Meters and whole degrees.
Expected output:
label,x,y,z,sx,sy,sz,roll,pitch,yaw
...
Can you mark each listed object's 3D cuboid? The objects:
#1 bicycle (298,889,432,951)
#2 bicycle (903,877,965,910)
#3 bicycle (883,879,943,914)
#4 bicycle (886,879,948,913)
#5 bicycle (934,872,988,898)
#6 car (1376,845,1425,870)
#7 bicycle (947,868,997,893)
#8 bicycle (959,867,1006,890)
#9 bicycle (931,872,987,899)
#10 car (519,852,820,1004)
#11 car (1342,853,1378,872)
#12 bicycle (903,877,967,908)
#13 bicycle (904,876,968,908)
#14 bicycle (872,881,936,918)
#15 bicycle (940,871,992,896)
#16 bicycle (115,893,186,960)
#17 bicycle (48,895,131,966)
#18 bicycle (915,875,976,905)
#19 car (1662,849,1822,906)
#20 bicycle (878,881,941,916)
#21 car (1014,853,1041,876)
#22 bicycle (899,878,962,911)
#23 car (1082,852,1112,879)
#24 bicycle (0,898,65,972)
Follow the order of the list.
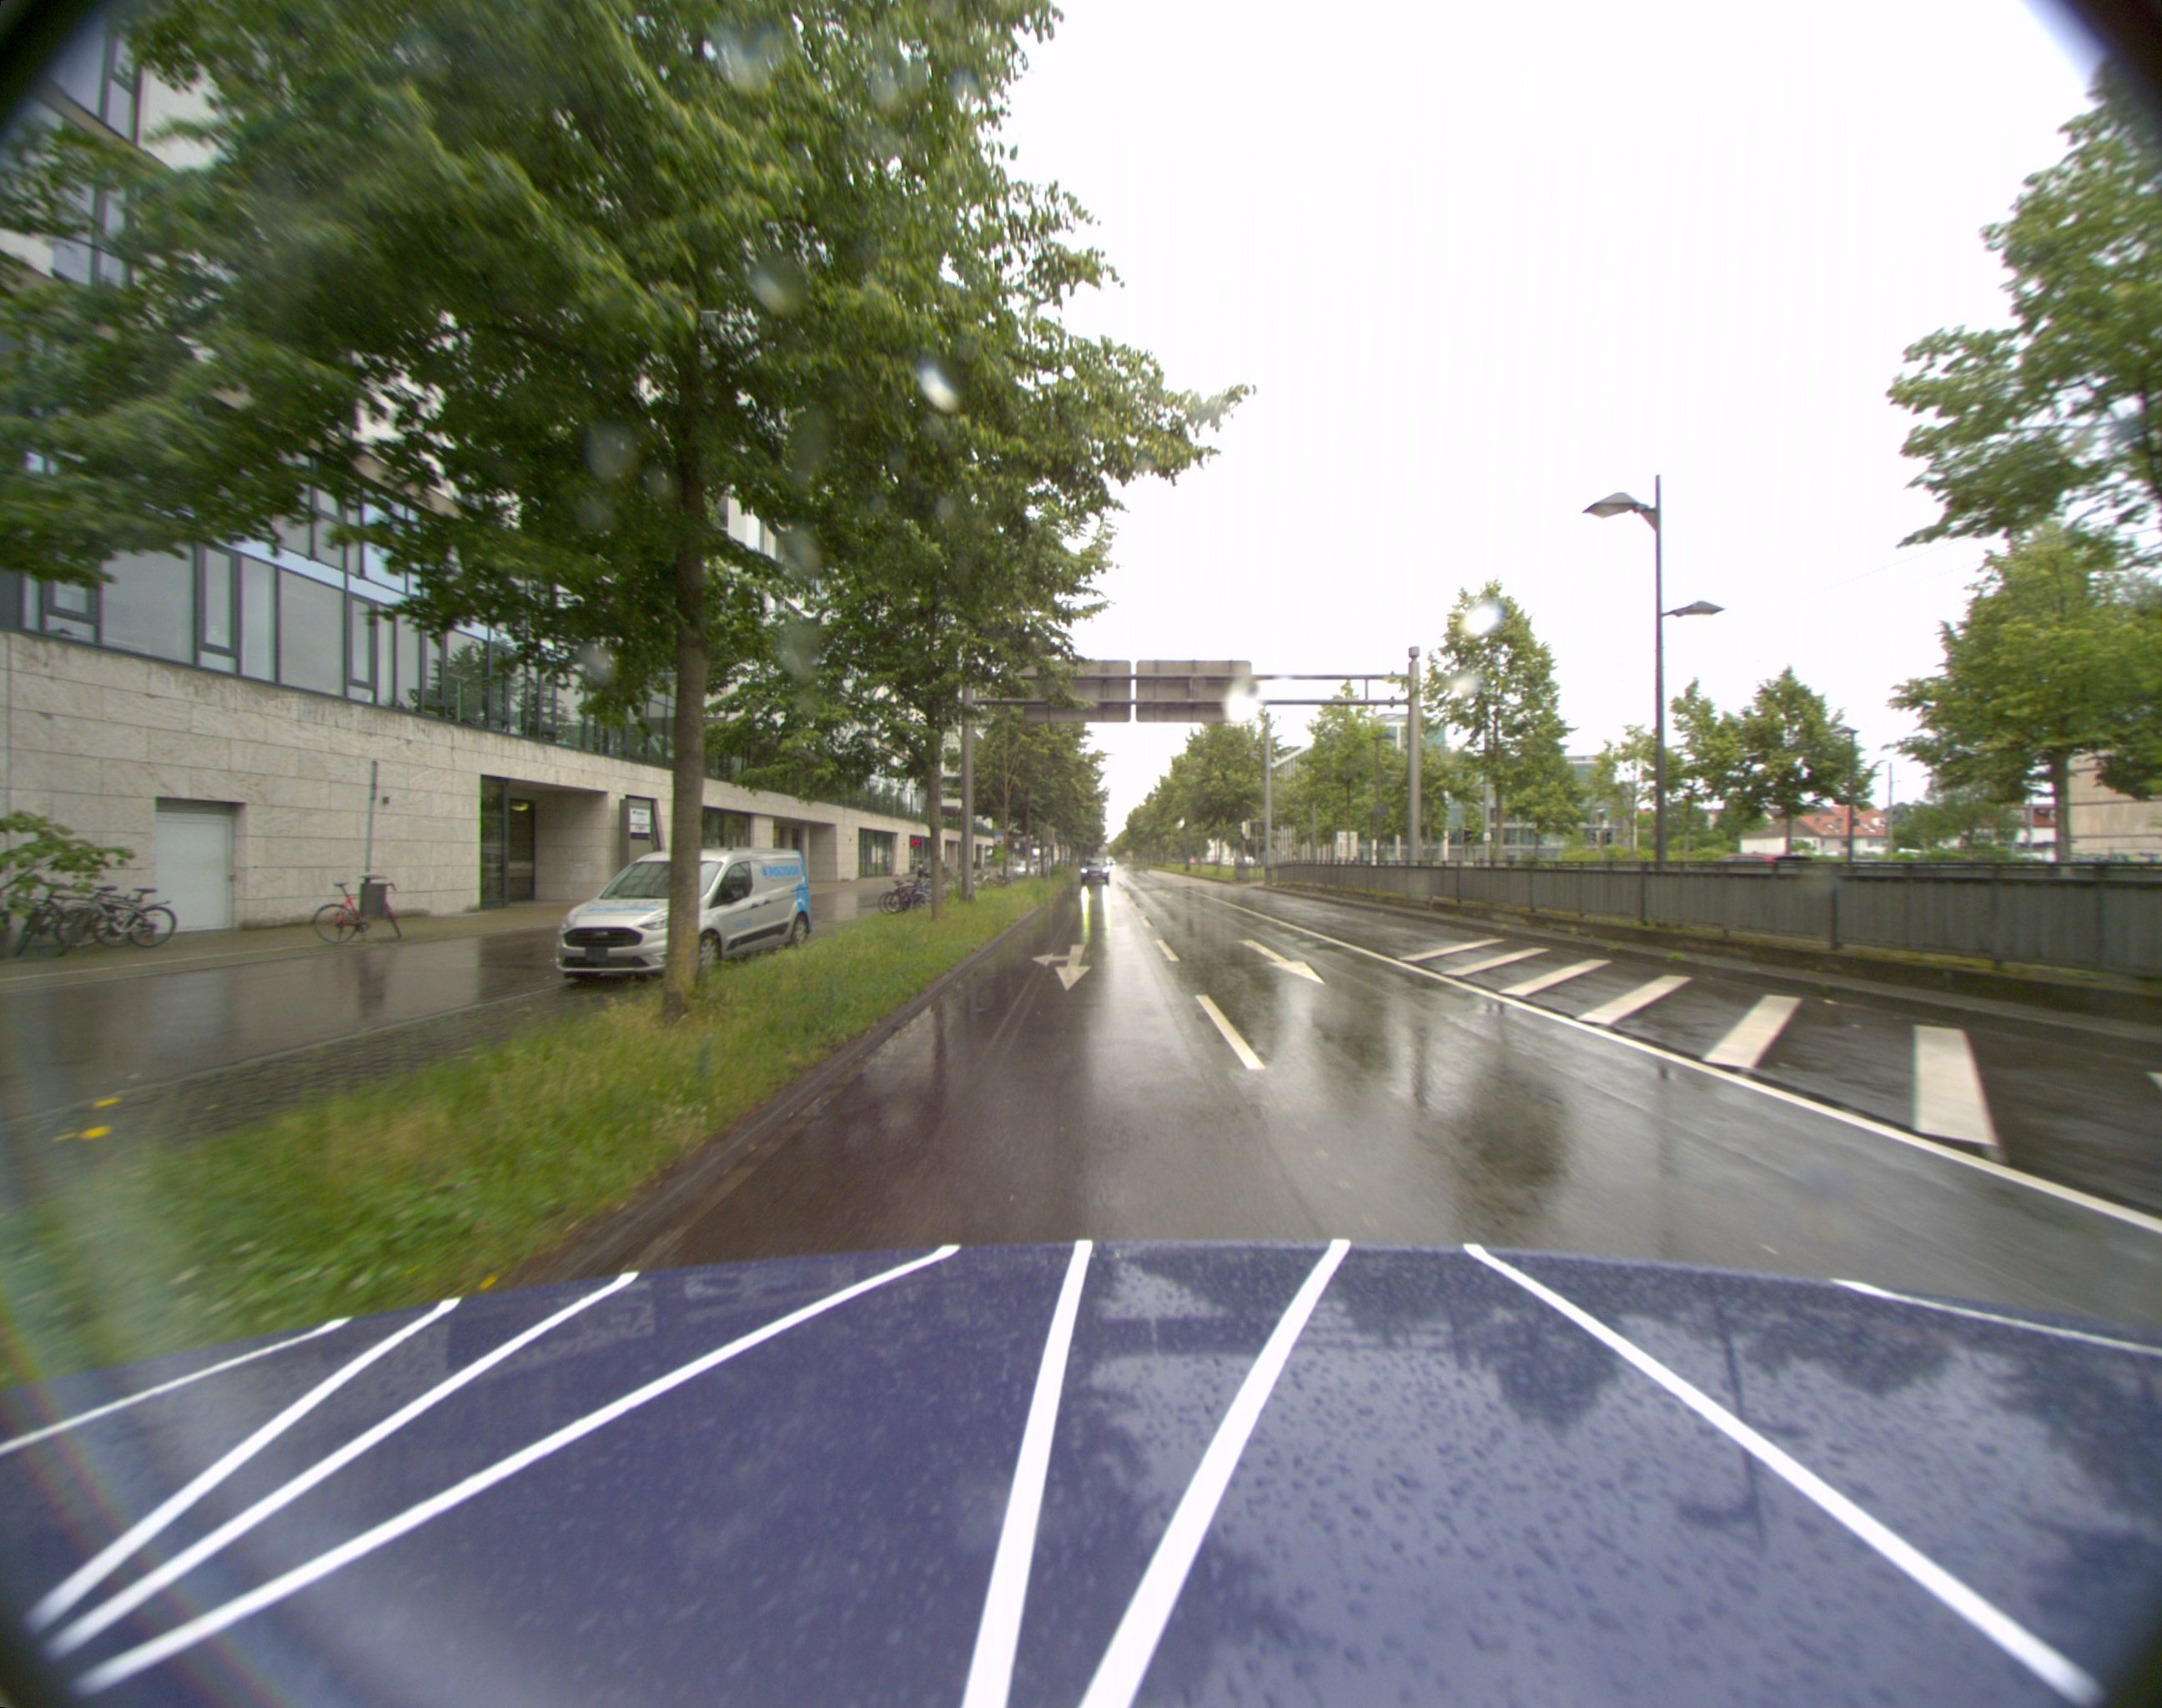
label,x,y,z,sx,sy,sz,roll,pitch,yaw
bicycle,-12.775,1.152,13.641,0.402,0.940,1.860,-1,0,9
bicycle,-4.749,1.274,24.631,1.882,0.940,0.395,-3,1,-2
bicycle,-5.041,1.277,22.847,1.649,0.940,0.395,-3,1,-2
bicycle,-5.039,1.299,23.410,1.792,0.940,0.395,-3,1,-2
bicycle,-4.790,1.229,30.437,2.040,0.940,0.542,-3,1,-2
car,24.103,0.219,57.493,1.999,1.736,3.999,-3,1,0
bicycle,-4.689,1.142,32.727,2.040,0.940,0.519,-3,1,-2
bicycle,-4.545,1.116,35.116,2.040,0.940,0.519,-3,1,-2
bicycle,-4.715,1.234,29.480,2.040,0.940,0.466,-3,1,-2
car,-5.685,0.874,11.379,1.746,1.749,4.848,-1,0,1
car,27.401,0.834,74.830,1.999,1.736,3.999,-3,1,0
bicycle,-4.807,1.271,25.122,2.007,0.940,0.395,-3,1,-2
bicycle,-4.864,1.272,25.558,2.040,0.940,0.395,-3,1,-2
bicycle,-4.968,1.283,21.417,1.666,0.940,0.395,-3,1,-2
bicycle,-4.790,1.219,31.755,2.040,0.940,0.541,-3,1,-2
bicycle,-14.712,1.110,12.048,0.396,0.940,2.024,-3,1,-43
bicycle,-15.035,1.125,11.562,0.396,0.940,2.024,-3,1,-43
bicycle,-4.791,1.258,26.903,2.040,0.940,0.395,-3,1,-2
car,22.693,0.754,26.315,1.999,1.736,3.999,-3,1,0
bicycle,-4.989,1.292,22.133,1.698,0.940,0.395,-3,1,-2
car,-4.199,0.801,60.294,1.658,1.710,4.000,-2,1,1
bicycle,-4.763,1.281,24.068,1.861,0.940,0.395,-3,1,-2
car,1.071,0.730,50.357,1.815,1.603,4.000,-2,1,3
bicycle,-15.289,1.140,10.937,0.396,0.940,2.024,-3,1,-43
